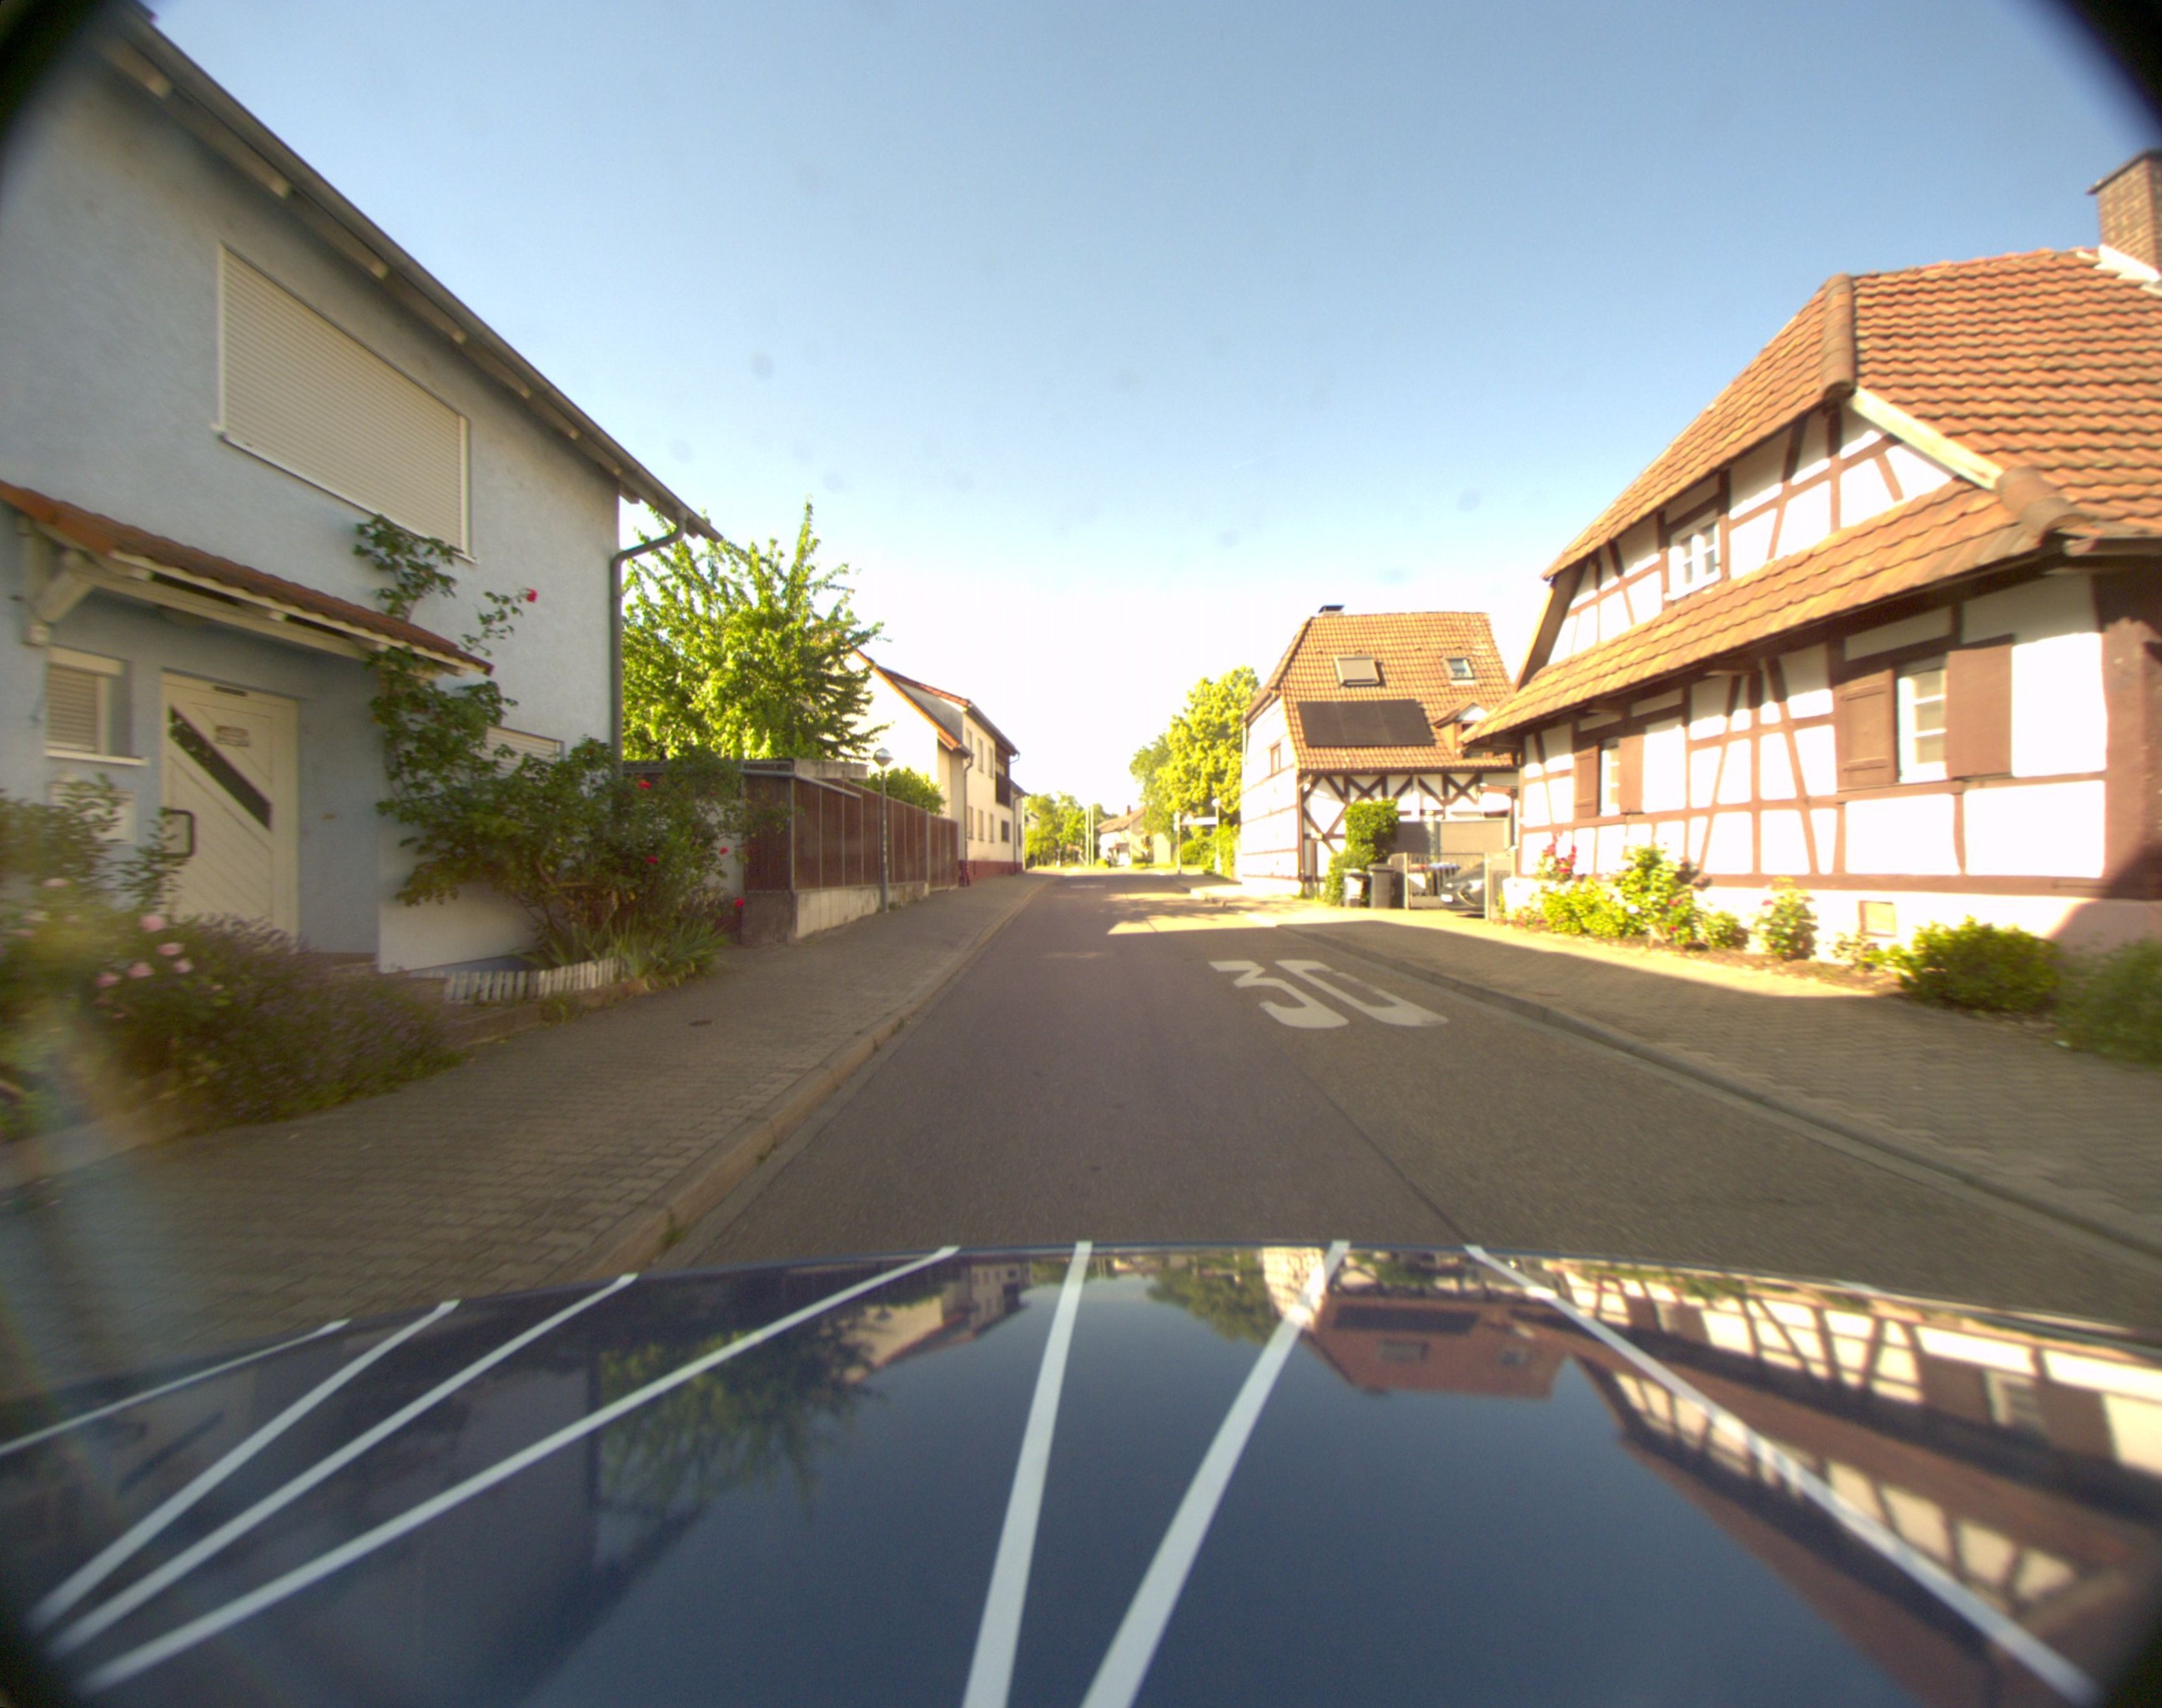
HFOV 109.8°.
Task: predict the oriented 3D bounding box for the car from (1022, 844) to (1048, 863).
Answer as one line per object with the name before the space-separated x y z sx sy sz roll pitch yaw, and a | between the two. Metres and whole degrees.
car | -4.980 -0.046 81.985 1.967 1.908 4.571 -1 1 -14
